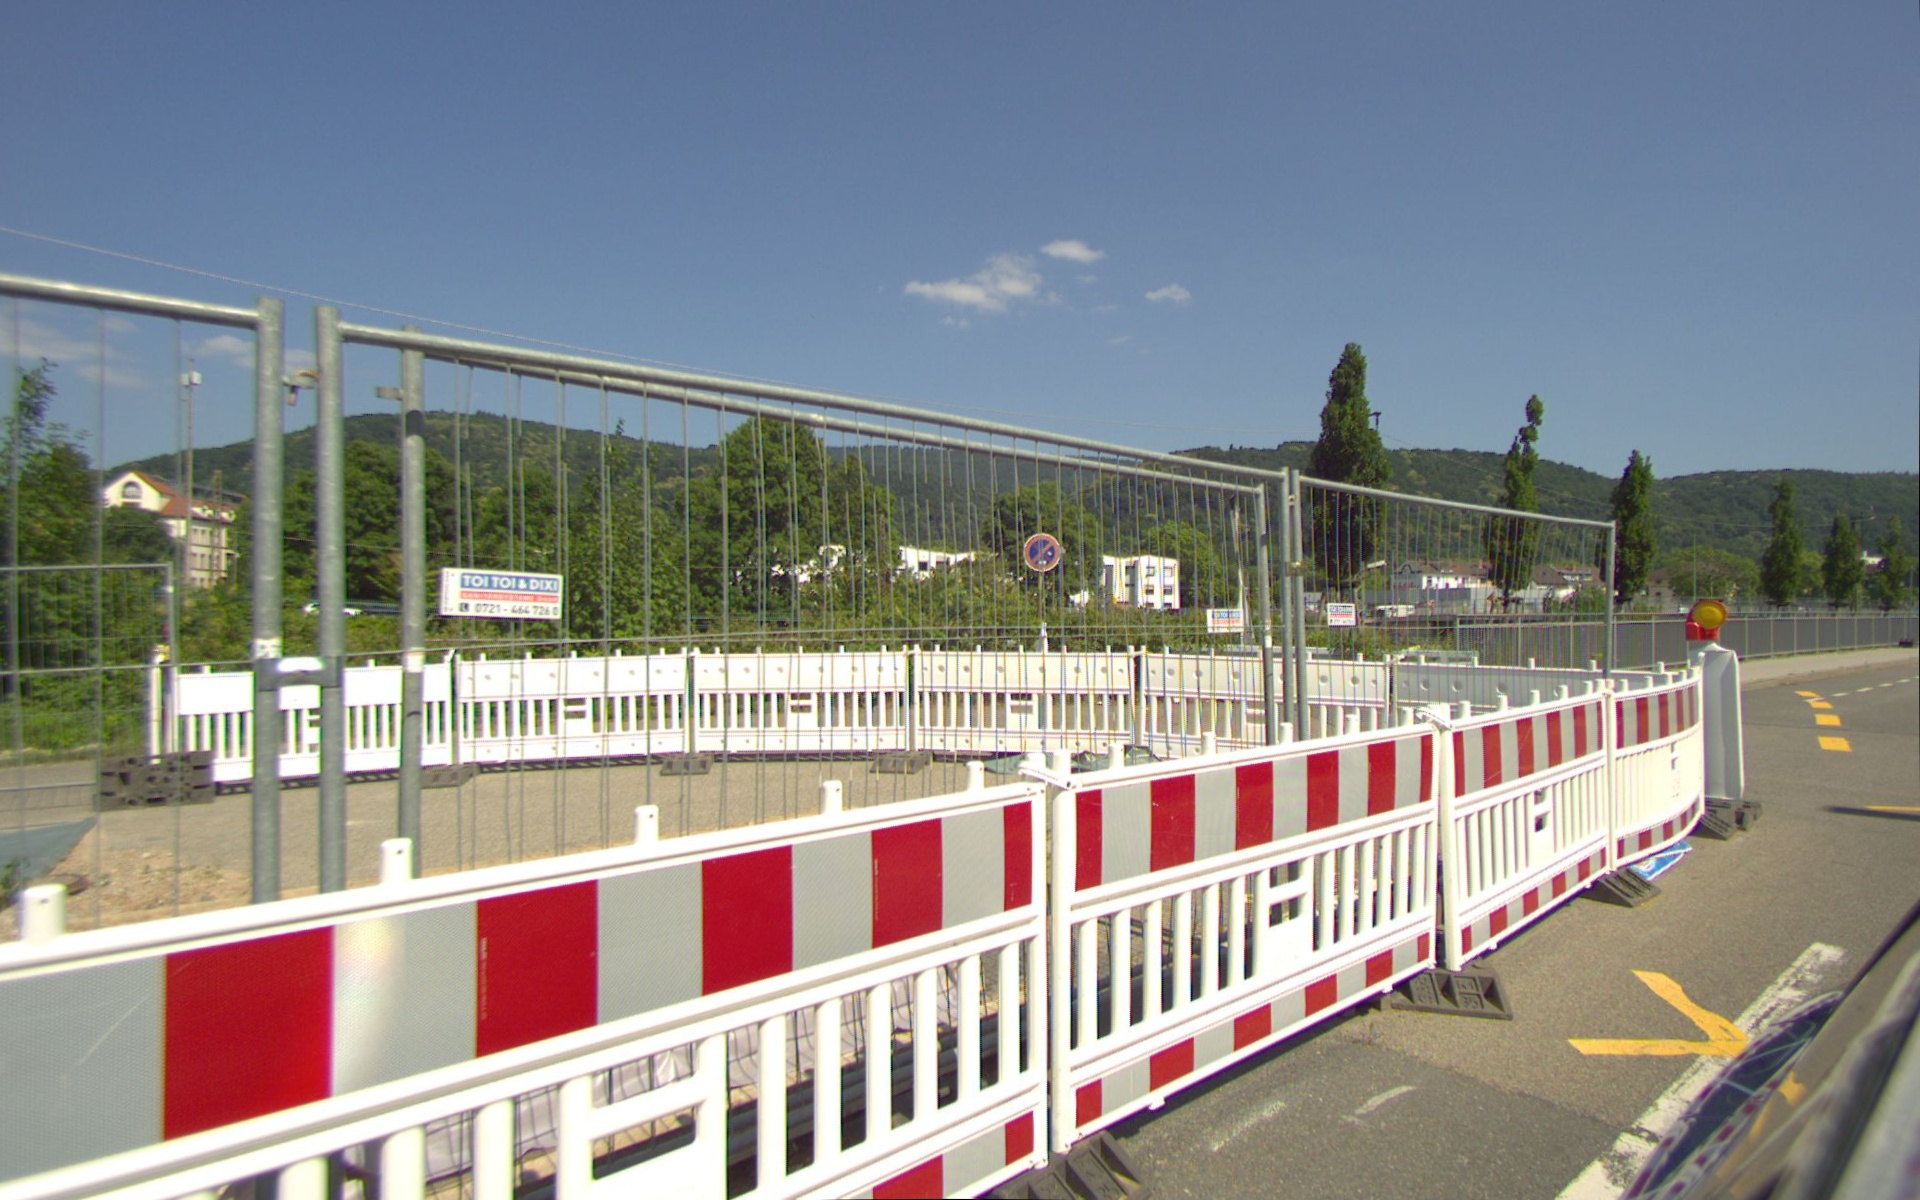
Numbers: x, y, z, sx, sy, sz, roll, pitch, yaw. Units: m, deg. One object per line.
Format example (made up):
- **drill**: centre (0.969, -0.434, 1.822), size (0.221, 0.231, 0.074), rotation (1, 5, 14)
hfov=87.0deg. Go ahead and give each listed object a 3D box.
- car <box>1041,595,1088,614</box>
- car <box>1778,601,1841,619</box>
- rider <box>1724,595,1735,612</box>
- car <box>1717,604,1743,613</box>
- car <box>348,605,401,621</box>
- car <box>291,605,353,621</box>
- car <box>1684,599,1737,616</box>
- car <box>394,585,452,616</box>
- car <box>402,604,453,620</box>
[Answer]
- **car**: centre (12.913, 0.536, 124.988), size (5.406, 2.130, 2.137), rotation (-1, -4, -27)
- **car**: centre (81.069, 0.932, 96.643), size (1.794, 1.647, 4.378), rotation (-3, 0, -10)
- **rider**: centre (81.915, 0.366, 107.734), size (0.537, 1.836, 0.687), rotation (-3, 0, -10)
- **car**: centre (81.939, 0.858, 107.762), size (0.564, 0.913, 2.387), rotation (-3, 0, -11)
- **car**: centre (-52.346, 1.124, 90.505), size (3.763, 1.384, 1.786), rotation (0, 0, -10)
- **car**: centre (-56.612, 1.176, 89.861), size (4.227, 1.384, 1.868), rotation (0, 0, -9)
- **car**: centre (79.141, 0.788, 106.797), size (1.794, 1.647, 4.377), rotation (-3, 0, -10)
- **car**: centre (-49.876, 0.047, 94.076), size (4.543, 2.888, 1.869), rotation (0, -1, -17)
- **car**: centre (-48.058, 1.096, 91.369), size (3.762, 1.384, 1.786), rotation (0, 0, -12)
